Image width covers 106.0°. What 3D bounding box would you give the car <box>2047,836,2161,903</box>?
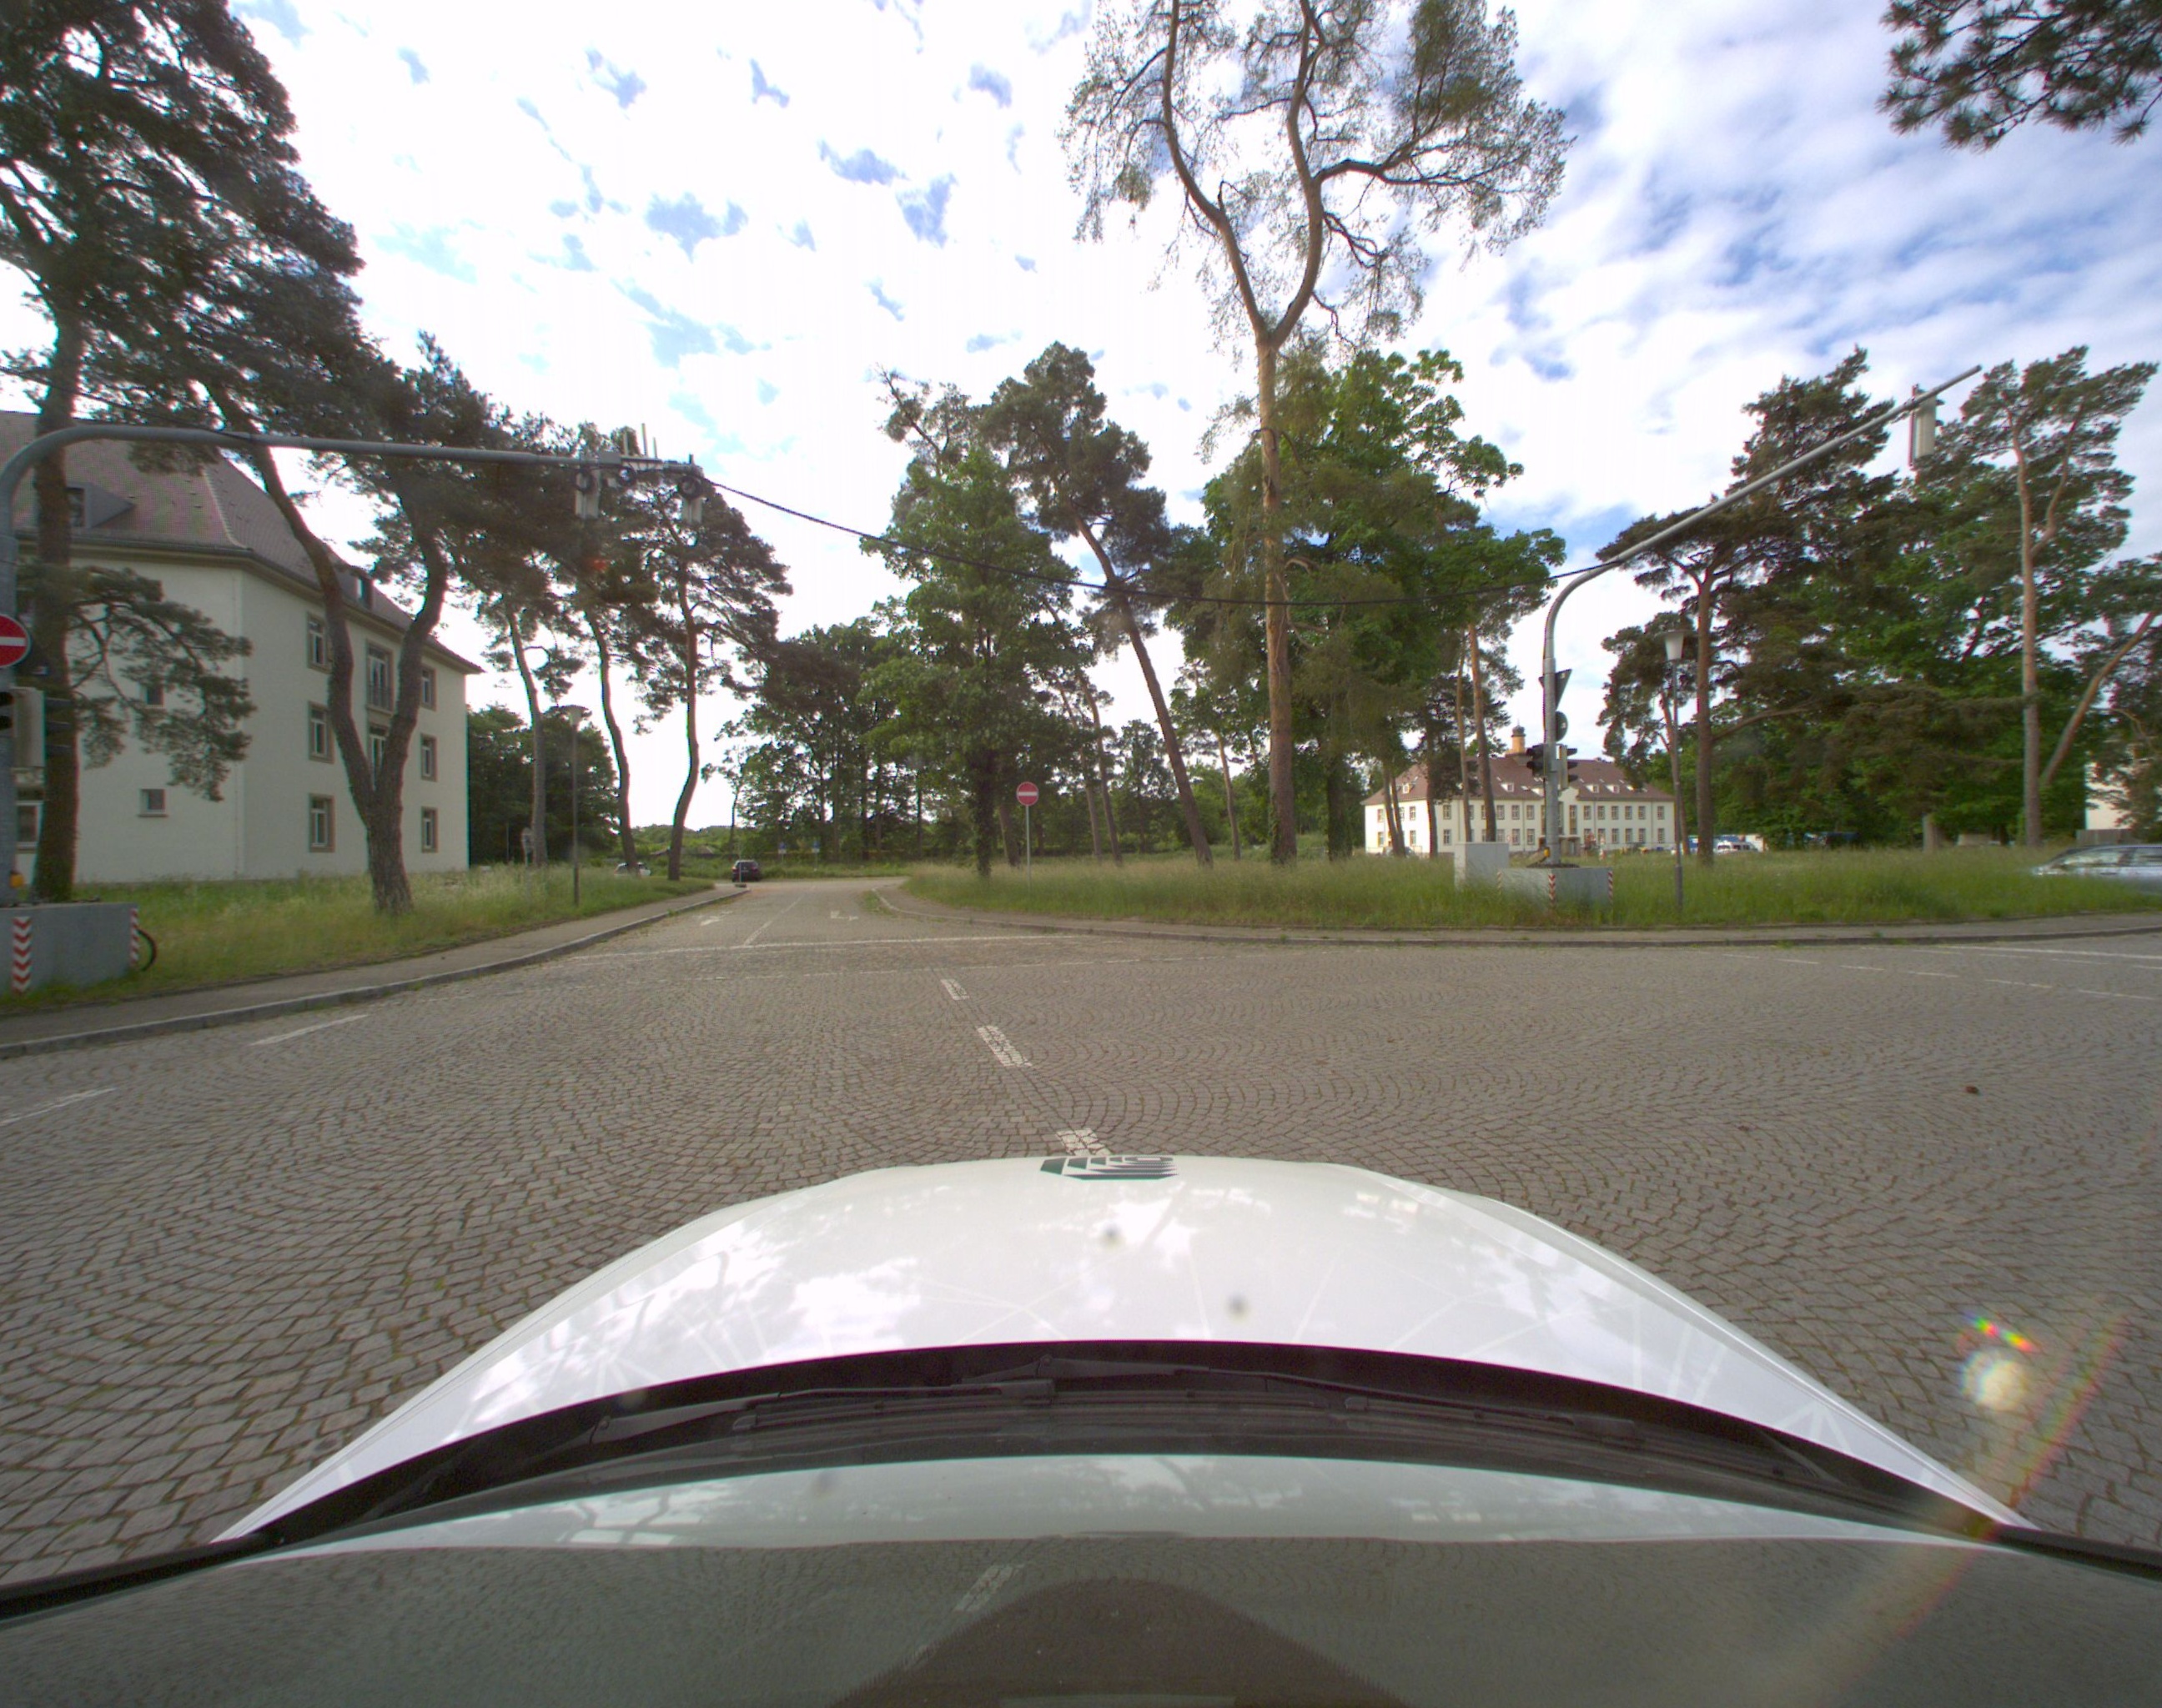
[{"bbox_3d":[26.019,0.358,18.774,1.870,1.537,4.487,0,0,-19],"label":"car"}]

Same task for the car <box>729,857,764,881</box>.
[{"bbox_3d":[-23.869,1.081,58.216,1.713,1.610,4.039,1,0,-14],"label":"car"}]

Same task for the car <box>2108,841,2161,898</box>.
[{"bbox_3d":[28.575,0.398,19.595,1.946,1.455,4.428,0,0,-15],"label":"car"}]

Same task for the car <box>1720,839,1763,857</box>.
[{"bbox_3d":[83.020,-0.764,102.357,4.341,2.095,2.056,1,-2,-17],"label":"car"}]

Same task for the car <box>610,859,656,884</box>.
[{"bbox_3d":[-31.129,1.214,56.715,1.712,1.610,4.041,1,0,-12],"label":"car"}]

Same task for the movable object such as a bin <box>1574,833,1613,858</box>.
[{"bbox_3d":[77.172,-1.195,122.819,2.127,3.641,6.137,1,-1,1],"label":"movable object such as a bin"}]

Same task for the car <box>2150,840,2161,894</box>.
[{"bbox_3d":[30.717,0.355,20.499,1.853,1.455,4.245,-1,1,-16],"label":"car"}]

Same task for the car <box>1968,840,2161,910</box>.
[{"bbox_3d":[23.417,0.434,18.338,1.824,1.470,4.322,0,0,-15],"label":"car"}]

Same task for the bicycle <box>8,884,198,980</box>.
[{"bbox_3d":[-12.115,0.941,10.136,1.416,1.074,0.494,-1,2,-20],"label":"bicycle"}]
